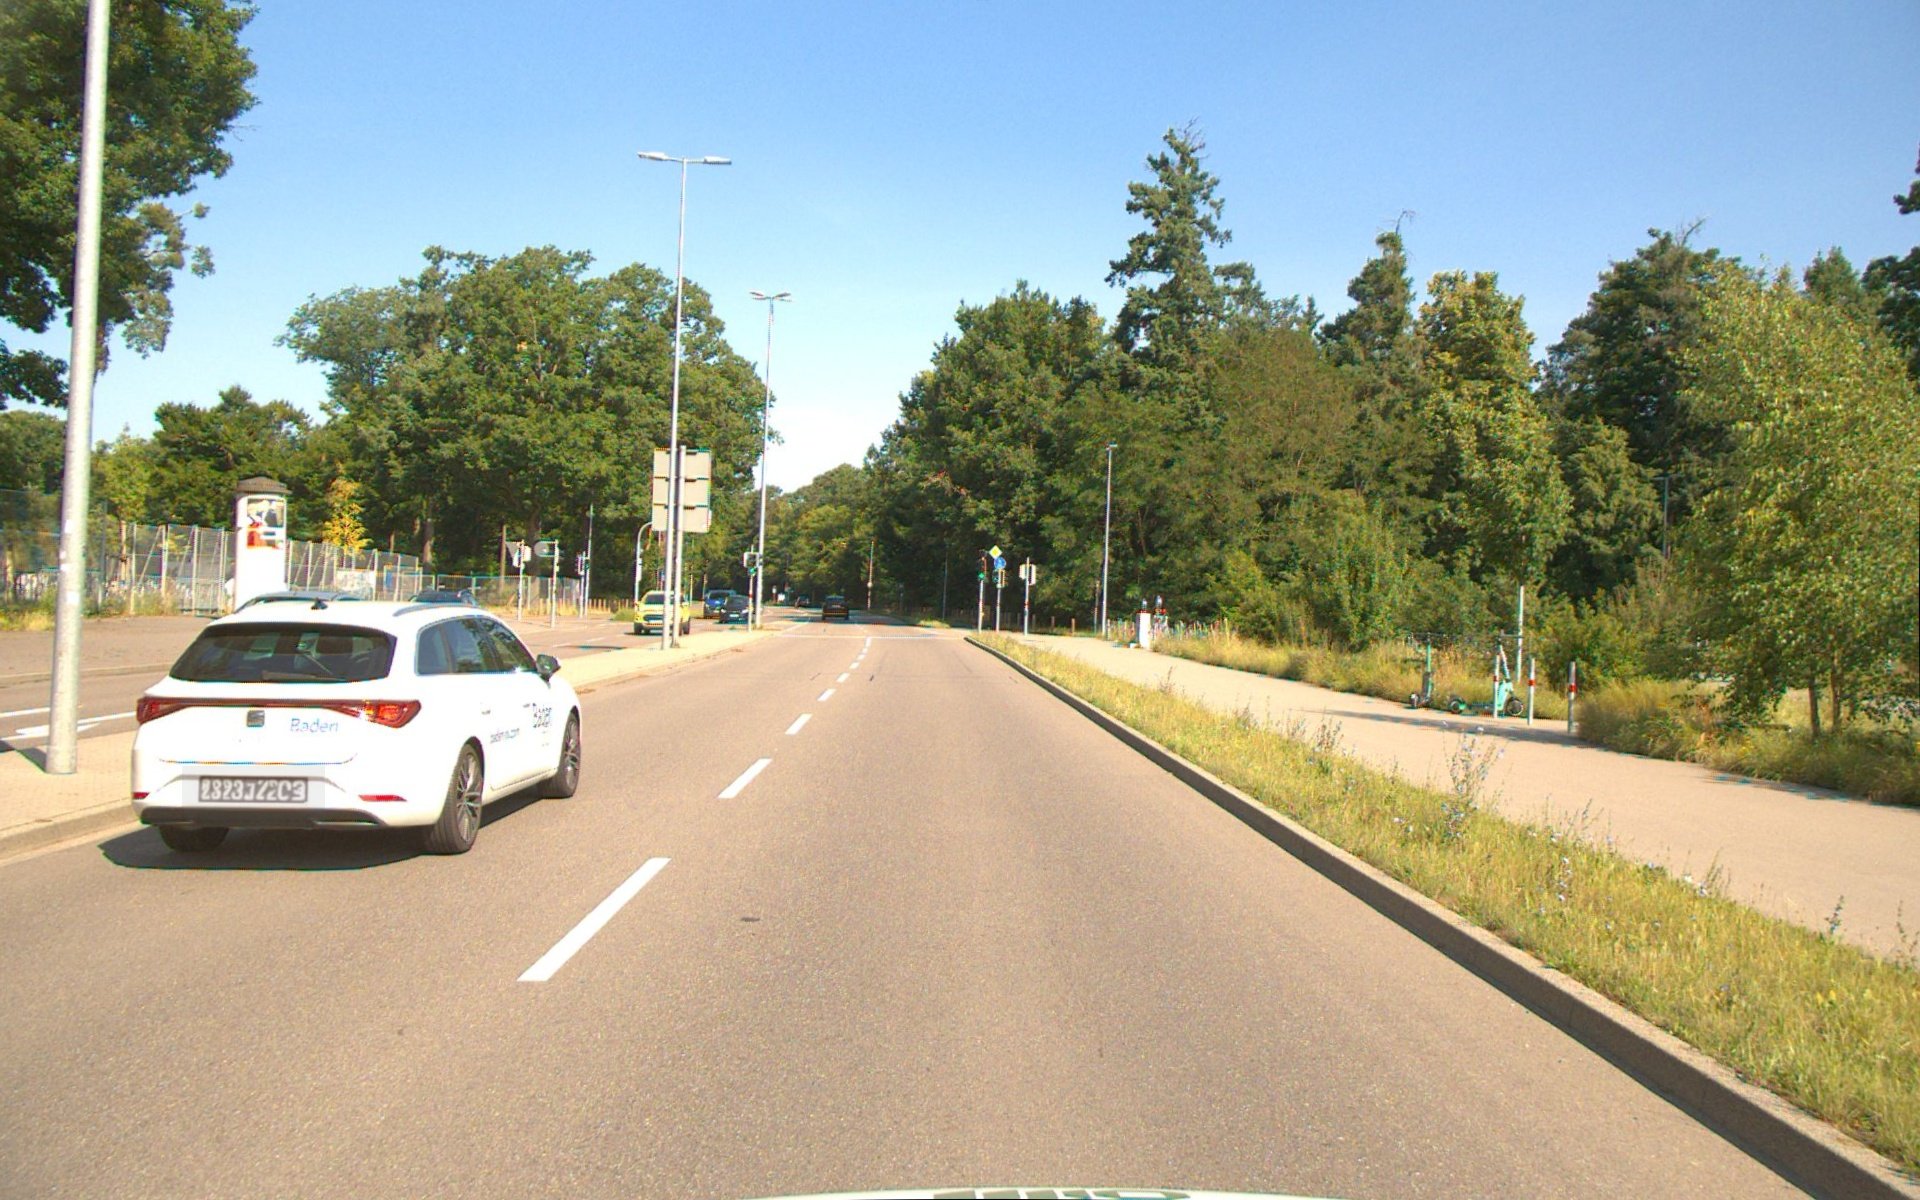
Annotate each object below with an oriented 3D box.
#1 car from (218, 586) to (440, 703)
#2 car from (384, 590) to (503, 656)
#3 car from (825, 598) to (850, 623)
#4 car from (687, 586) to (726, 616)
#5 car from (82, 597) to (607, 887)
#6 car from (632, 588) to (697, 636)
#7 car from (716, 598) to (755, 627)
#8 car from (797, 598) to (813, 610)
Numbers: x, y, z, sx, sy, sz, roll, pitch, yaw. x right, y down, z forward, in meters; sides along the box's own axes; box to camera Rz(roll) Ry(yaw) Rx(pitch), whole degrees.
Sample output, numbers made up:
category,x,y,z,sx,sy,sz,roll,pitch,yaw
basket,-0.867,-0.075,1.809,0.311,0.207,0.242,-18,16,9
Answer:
category,x,y,z,sx,sy,sz,roll,pitch,yaw
car,-9.719,0.639,25.828,1.870,1.612,4.000,2,0,0
car,-12.774,0.546,41.114,1.758,1.504,3.998,2,0,-2
car,-8.268,0.679,111.468,1.655,1.571,4.144,1,0,-5
car,-16.511,0.069,107.844,1.890,1.803,3.999,2,0,-1
car,-3.668,0.726,10.866,1.690,1.451,4.719,1,0,0
car,-11.095,0.431,62.371,1.809,1.646,3.998,3,0,-2
car,-12.457,0.653,91.773,1.783,1.489,3.997,3,0,-4
car,-20.035,0.542,213.551,1.903,1.445,4.287,2,0,-6
